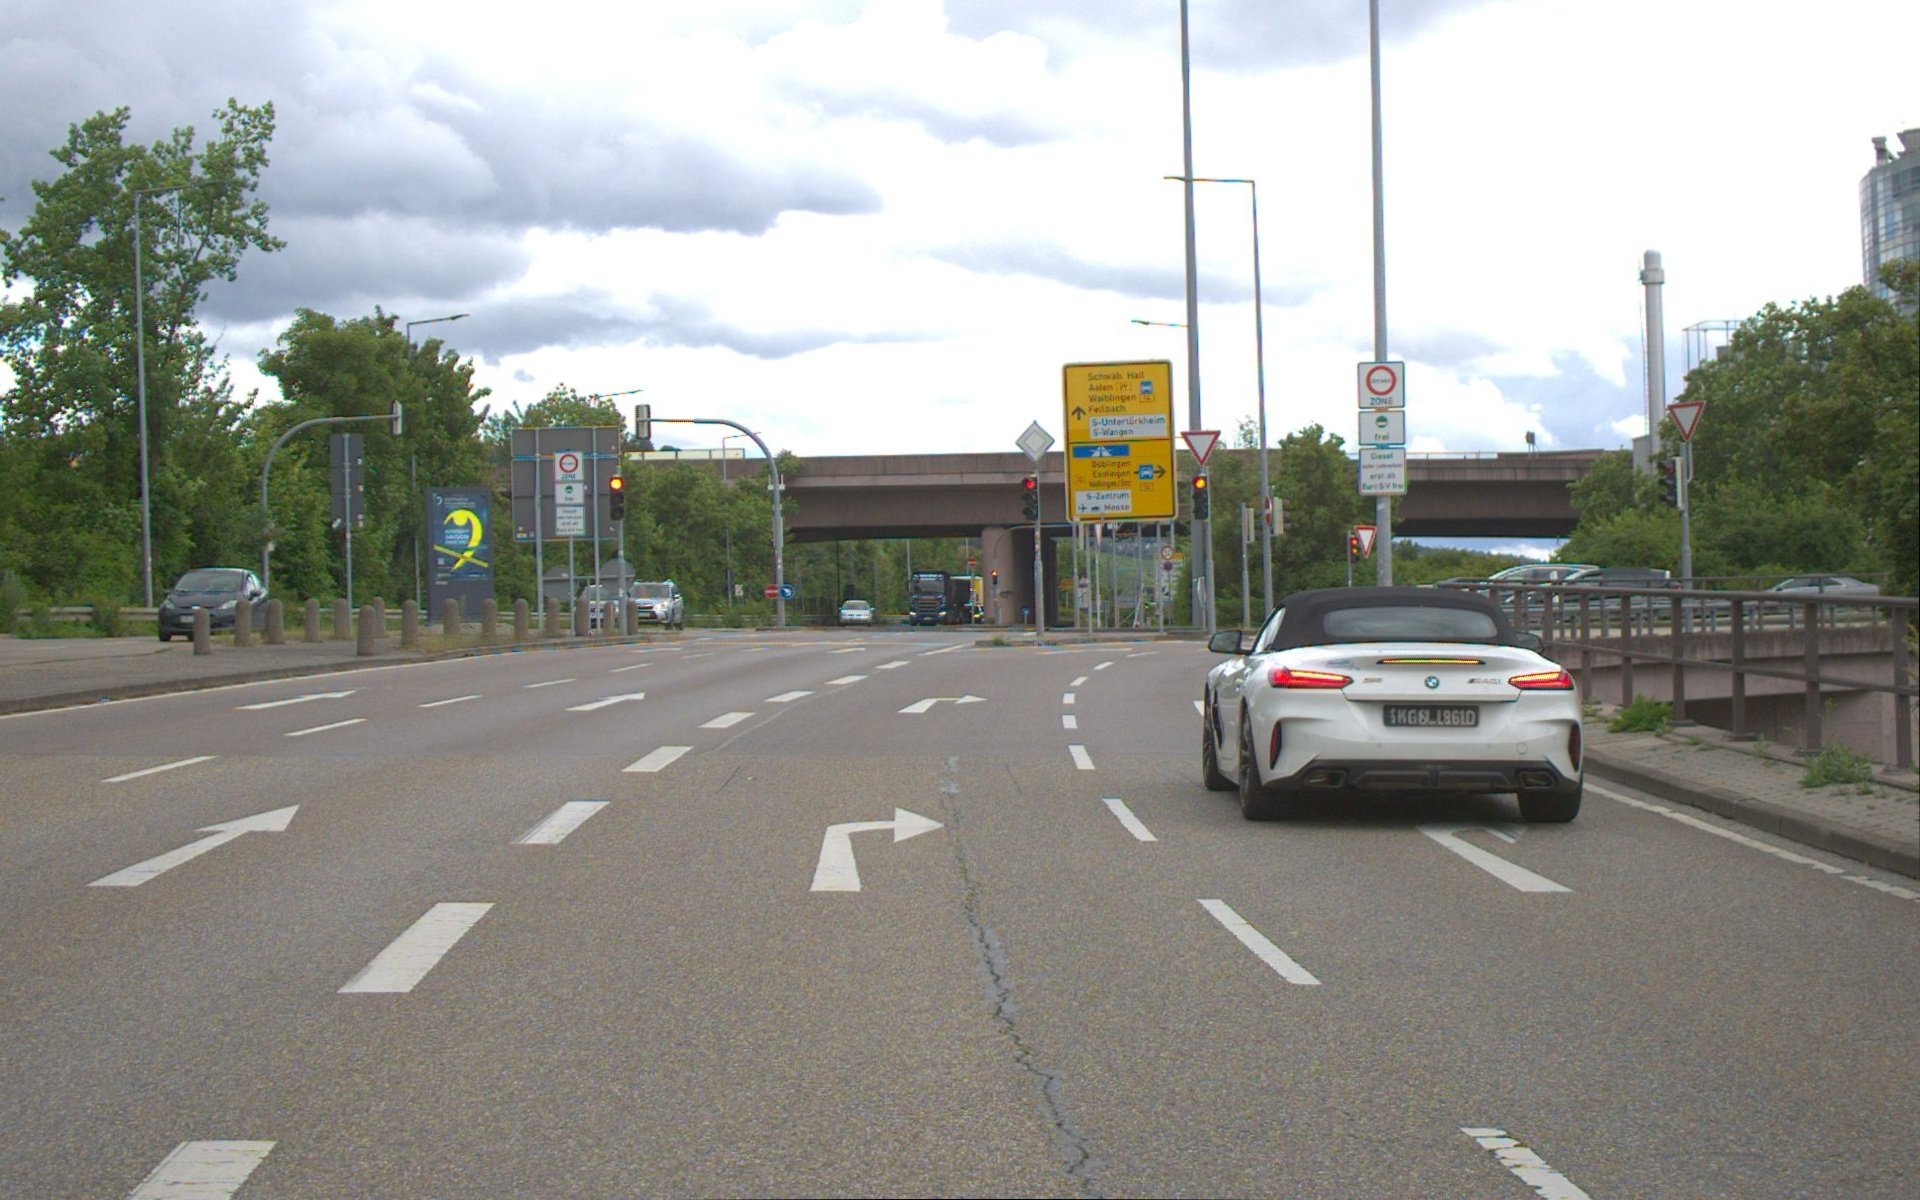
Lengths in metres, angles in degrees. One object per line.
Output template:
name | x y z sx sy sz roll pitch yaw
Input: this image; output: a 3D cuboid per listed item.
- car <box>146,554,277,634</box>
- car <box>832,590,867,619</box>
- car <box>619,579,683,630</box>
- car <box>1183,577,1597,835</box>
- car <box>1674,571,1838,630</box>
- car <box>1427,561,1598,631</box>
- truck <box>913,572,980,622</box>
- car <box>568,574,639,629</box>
car | -14.614 -0.128 67.239 1.760 1.479 3.484 1 0 0
car | -6.024 0.249 187.794 1.741 1.532 3.671 0 1 1
car | -10.232 0.147 114.080 1.771 1.627 3.825 1 0 0
car | 2.409 0.552 20.193 1.875 1.305 3.873 0 1 -1
car | 23.225 0.022 100.435 4.372 1.565 1.999 -1 -2 4
car | 14.930 -0.093 93.032 4.372 1.752 1.999 -1 -2 4
truck | -0.846 -0.196 223.740 2.924 3.135 10.108 1 0 8
car | -10.989 0.026 106.155 1.771 1.639 3.825 1 0 0
